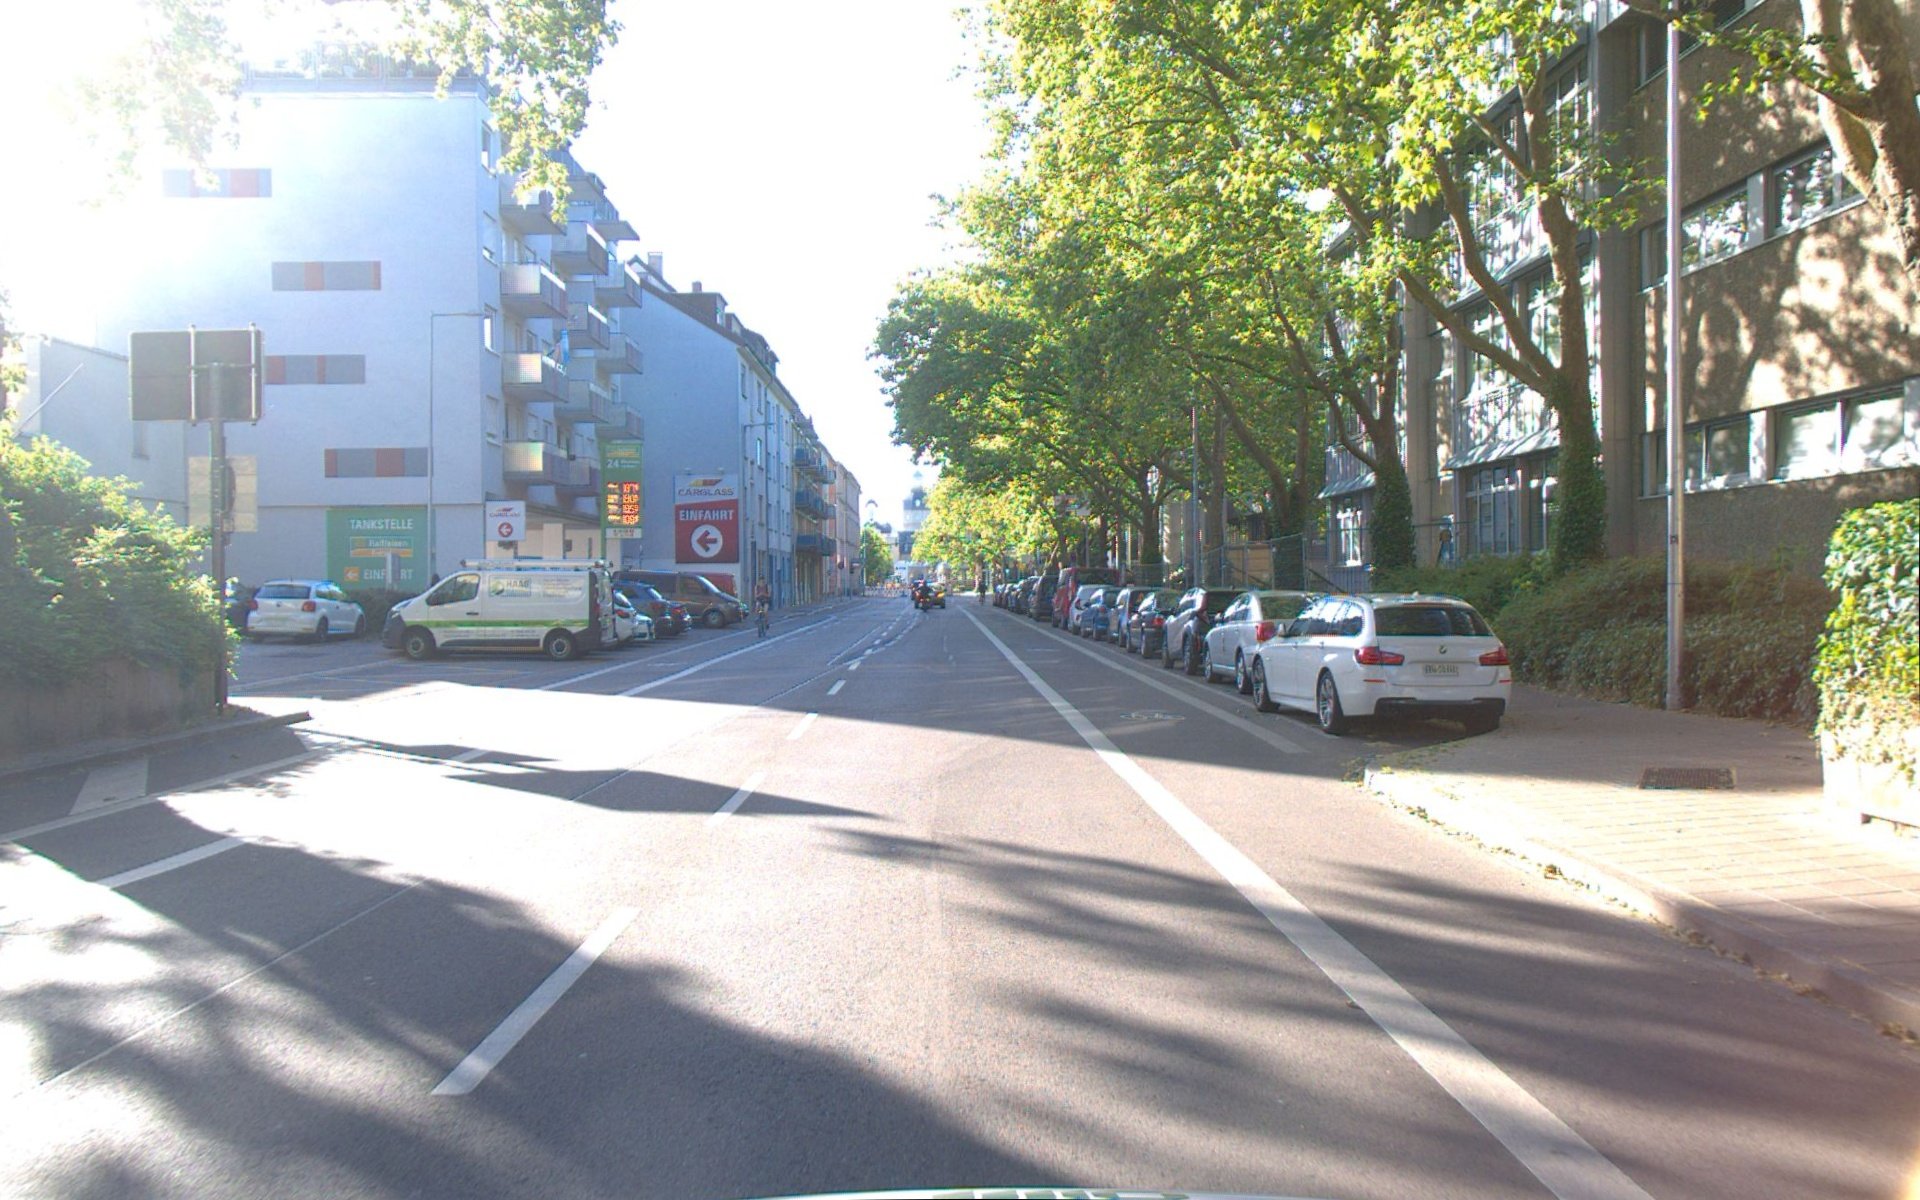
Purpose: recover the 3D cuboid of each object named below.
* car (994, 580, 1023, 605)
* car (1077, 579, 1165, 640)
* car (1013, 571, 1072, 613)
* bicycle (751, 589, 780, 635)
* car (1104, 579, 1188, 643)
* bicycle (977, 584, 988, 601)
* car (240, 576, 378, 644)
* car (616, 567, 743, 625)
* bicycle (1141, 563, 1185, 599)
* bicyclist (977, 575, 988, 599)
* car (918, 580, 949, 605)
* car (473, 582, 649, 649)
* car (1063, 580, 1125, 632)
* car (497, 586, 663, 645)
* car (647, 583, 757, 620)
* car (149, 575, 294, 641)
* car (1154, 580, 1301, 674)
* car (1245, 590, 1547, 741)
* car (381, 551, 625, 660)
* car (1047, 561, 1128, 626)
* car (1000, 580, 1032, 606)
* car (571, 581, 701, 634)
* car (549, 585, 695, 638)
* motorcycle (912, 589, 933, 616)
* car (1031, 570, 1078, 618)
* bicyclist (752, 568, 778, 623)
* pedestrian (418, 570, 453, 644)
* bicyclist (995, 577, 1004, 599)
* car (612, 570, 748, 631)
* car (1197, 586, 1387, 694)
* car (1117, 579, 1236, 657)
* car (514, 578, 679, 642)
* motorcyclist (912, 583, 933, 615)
[{"bbox_3d":[2.996,-0.508,103.604,1.658,1.492,4.065,1,1,0],"label":"car"},{"bbox_3d":[4.444,0.229,46.190,1.818,1.537,3.926,1,1,-4],"label":"car"},{"bbox_3d":[3.870,-0.391,78.286,1.791,1.873,4.889,1,1,-9],"label":"car"},{"bbox_3d":[-5.775,0.339,49.153,0.594,1.261,2.049,-3,1,-1],"label":"bicycle"},{"bbox_3d":[4.652,0.238,41.762,1.581,1.501,3.492,1,1,-2],"label":"car"},{"bbox_3d":[1.487,-0.489,110.411,0.643,1.089,1.926,1,0,-2],"label":"bicycle"},{"bbox_3d":[-15.463,0.201,39.489,1.753,1.489,3.999,1,1,-1],"label":"car"},{"bbox_3d":[-10.398,-0.167,61.536,4.331,1.985,2.146,2,1,-1],"label":"car"},{"bbox_3d":[12.130,-1.136,98.932,2.545,2.049,0.742,-1,0,-2],"label":"bicycle"},{"bbox_3d":[1.490,-0.854,110.430,0.643,1.557,0.852,1,0,-2],"label":"bicyclist"},{"bbox_3d":[-1.604,-0.438,98.019,1.791,1.445,3.814,0,1,-2],"label":"car"},{"bbox_3d":[-9.819,0.371,40.892,3.906,1.586,1.852,0,1,-2],"label":"car"},{"bbox_3d":[4.099,0.148,50.940,1.604,1.511,3.760,1,1,0],"label":"car"},{"bbox_3d":[-9.834,0.386,43.019,3.906,1.458,1.852,0,1,-2],"label":"car"},{"bbox_3d":[-10.408,0.054,66.914,4.143,1.404,2.045,1,0,-1],"label":"car"},{"bbox_3d":[-17.775,0.153,39.987,1.753,1.489,3.999,1,1,-1],"label":"car"},{"bbox_3d":[4.720,0.430,29.748,1.818,1.549,4.296,1,1,-2],"label":"car"},{"bbox_3d":[4.746,0.630,18.846,1.819,1.461,4.966,0,1,-4],"label":"car"},{"bbox_3d":[-9.959,0.110,36.368,4.746,2.255,2.139,1,0,-2],"label":"car"},{"bbox_3d":[4.212,-0.236,55.564,2.036,2.029,5.168,1,1,-3],"label":"car"},{"bbox_3d":[3.309,-0.427,98.019,1.658,1.505,4.317,1,1,-1],"label":"car"},{"bbox_3d":[-9.879,0.219,50.663,3.611,1.540,1.830,1,0,-2],"label":"car"},{"bbox_3d":[-9.828,0.317,48.317,3.906,1.481,1.916,0,1,-2],"label":"car"},{"bbox_3d":[-1.928,0.105,84.396,0.992,1.329,2.672,-1,1,-2],"label":"motorcycle"},{"bbox_3d":[3.774,-0.255,66.672,1.658,1.844,4.130,1,1,0],"label":"car"},{"bbox_3d":[-5.814,-0.145,49.296,0.594,1.571,0.934,-3,1,-1],"label":"bicyclist"},{"bbox_3d":[-13.011,0.168,41.018,0.618,1.820,0.722,-1,1,-2],"label":"pedestrian"},{"bbox_3d":[2.836,-0.831,118.863,0.643,1.557,0.906,1,0,-2],"label":"bicyclist"},{"bbox_3d":[-9.883,0.008,58.685,4.431,1.985,2.056,2,1,-1],"label":"car"},{"bbox_3d":[4.880,0.531,24.959,1.818,1.461,4.601,0,1,-2],"label":"car"},{"bbox_3d":[4.646,0.337,36.105,1.818,1.549,4.598,1,1,-2],"label":"car"},{"bbox_3d":[-9.961,0.259,45.621,4.109,1.713,2.027,0,0,-2],"label":"car"},{"bbox_3d":[-1.923,-0.067,84.384,0.992,1.630,1.405,-1,0,-2],"label":"motorcyclist"}]
